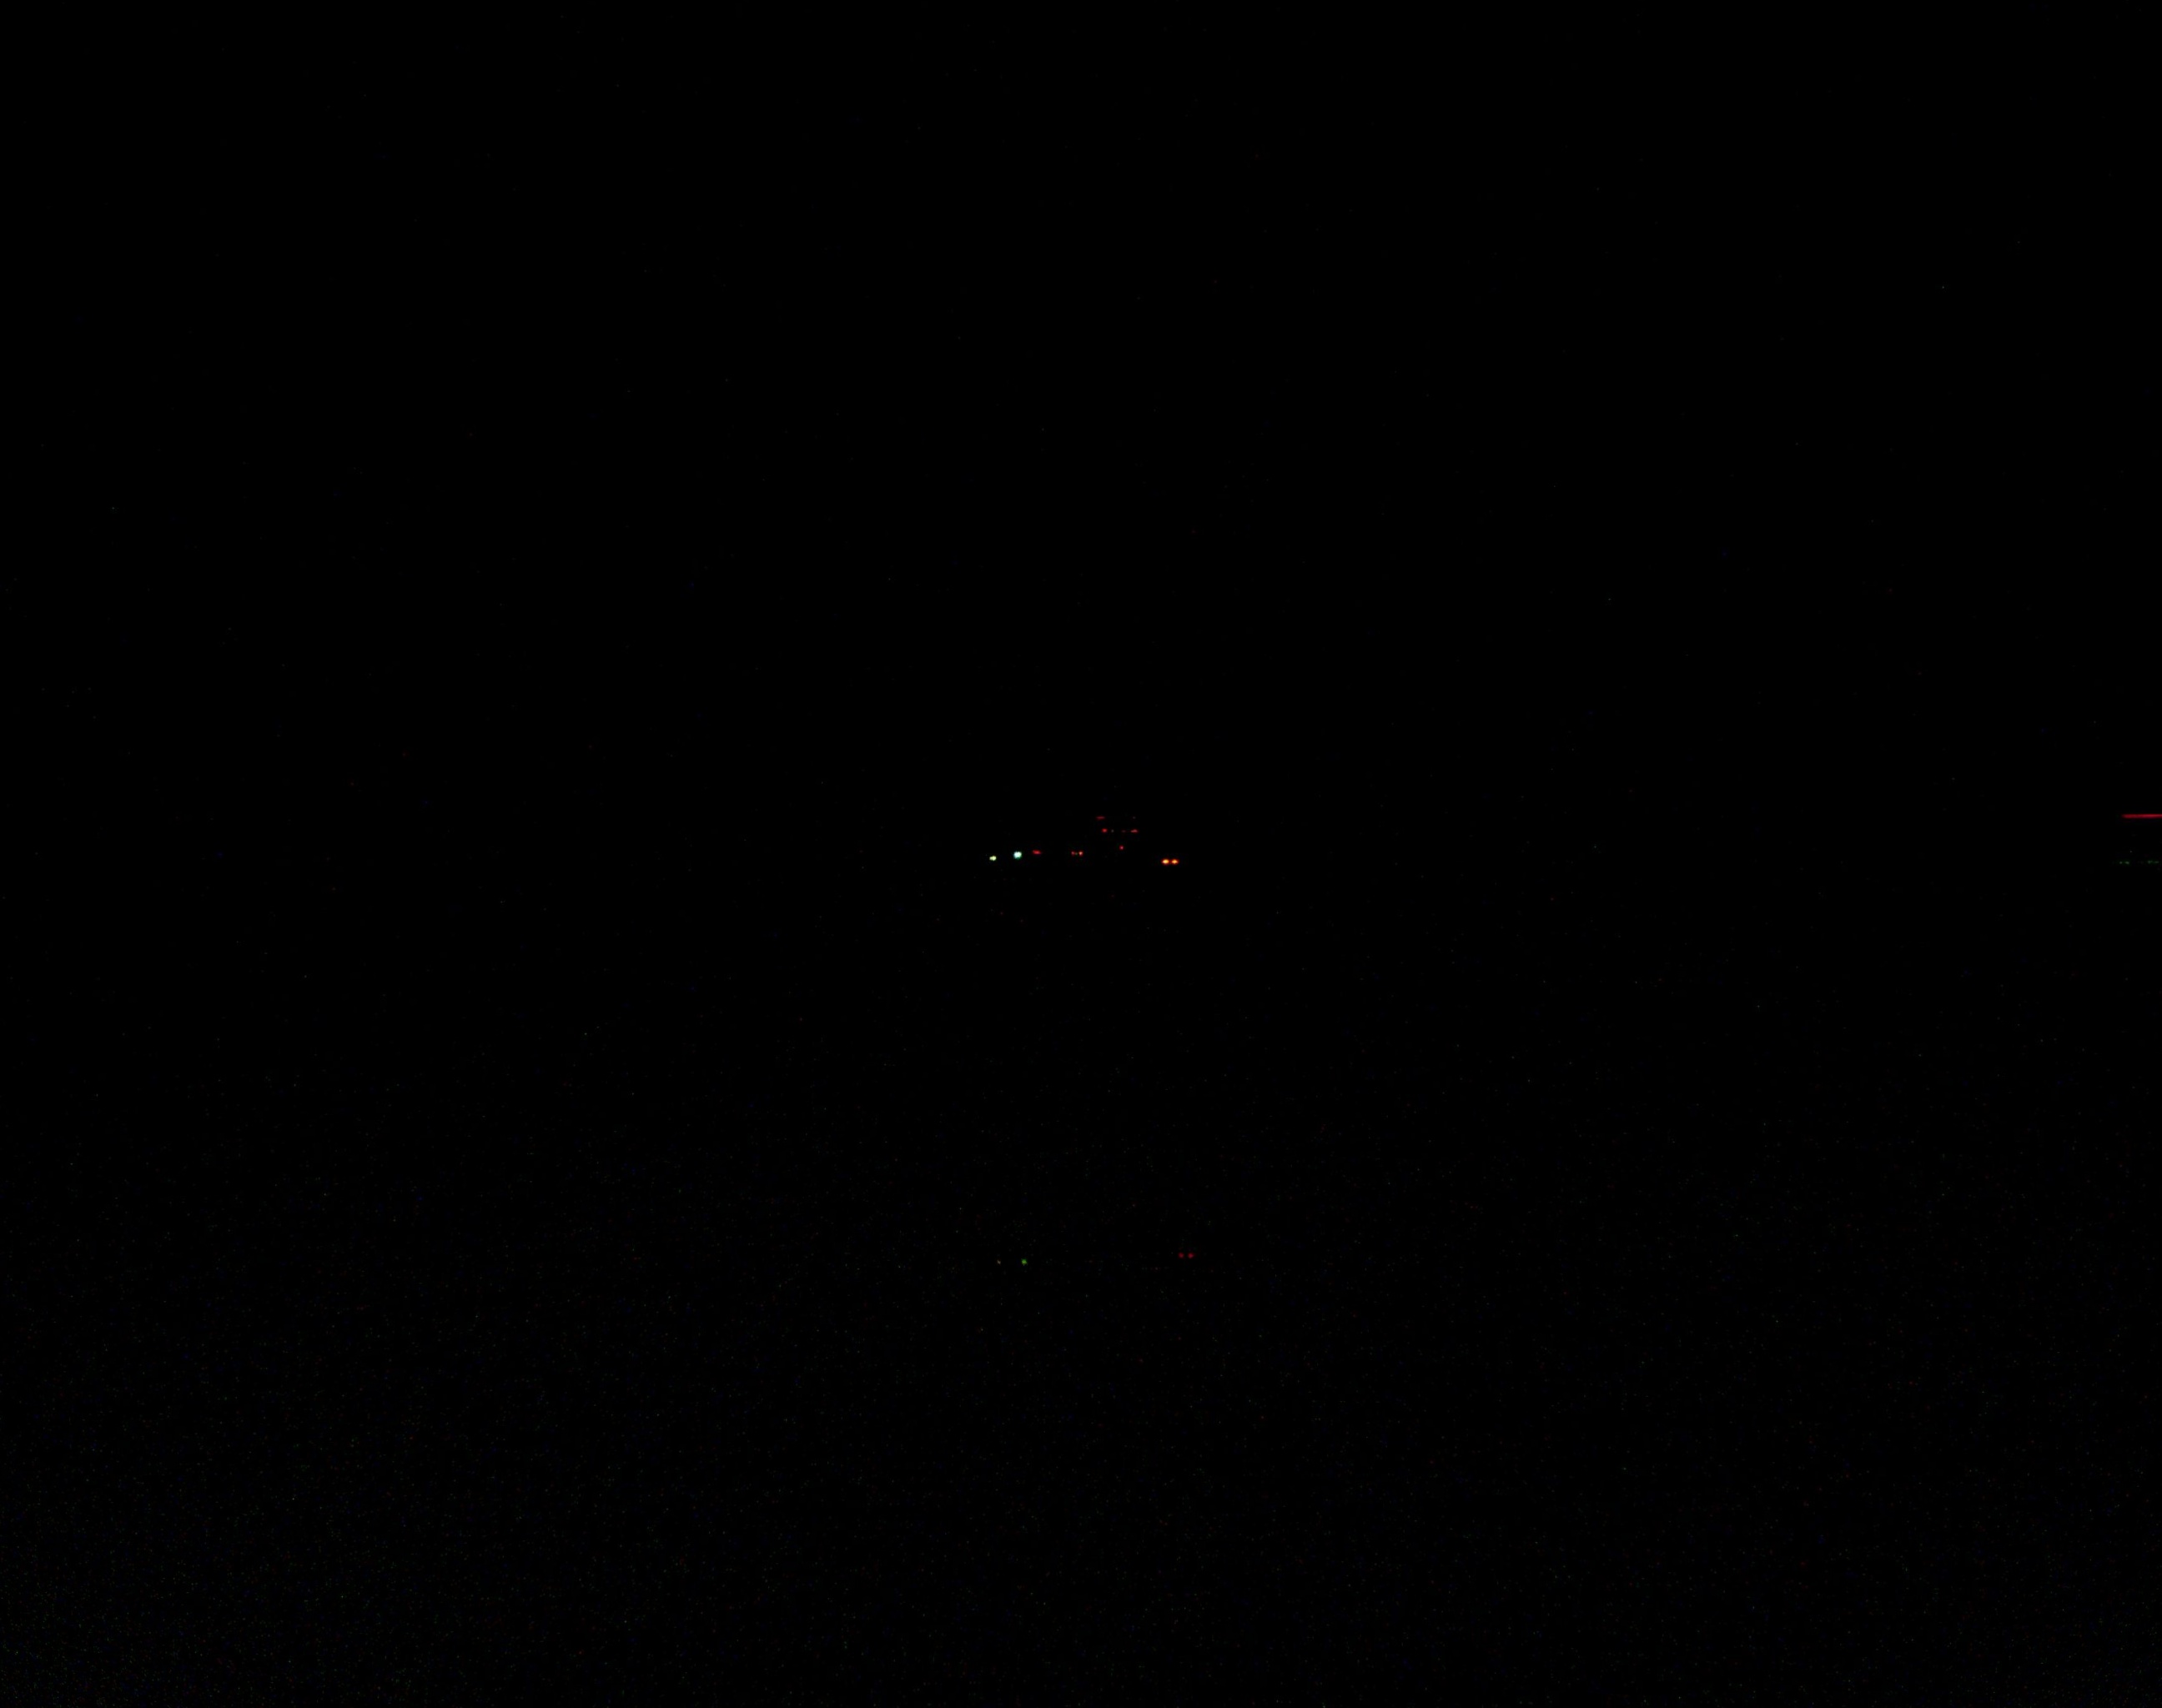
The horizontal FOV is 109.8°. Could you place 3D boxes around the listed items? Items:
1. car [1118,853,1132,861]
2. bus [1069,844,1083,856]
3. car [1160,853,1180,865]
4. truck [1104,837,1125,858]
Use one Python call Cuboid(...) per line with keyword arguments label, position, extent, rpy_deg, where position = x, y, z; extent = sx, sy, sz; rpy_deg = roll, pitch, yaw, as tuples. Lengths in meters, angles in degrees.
Cuboid(label="car", position=(7.540, 0.526, 129.634), extent=(1.999, 1.264, 4.294), rpy_deg=(0, 0, -2))
Cuboid(label="bus", position=(-1.387, -1.048, 209.451), extent=(2.794, 3.092, 12.510), rpy_deg=(0, 0, -5))
Cuboid(label="car", position=(11.713, 0.648, 100.217), extent=(1.999, 1.548, 4.294), rpy_deg=(0, 0, -2))
Cuboid(label="truck", position=(6.855, -1.378, 157.549), extent=(2.754, 4.103, 13.902), rpy_deg=(0, 0, -4))
